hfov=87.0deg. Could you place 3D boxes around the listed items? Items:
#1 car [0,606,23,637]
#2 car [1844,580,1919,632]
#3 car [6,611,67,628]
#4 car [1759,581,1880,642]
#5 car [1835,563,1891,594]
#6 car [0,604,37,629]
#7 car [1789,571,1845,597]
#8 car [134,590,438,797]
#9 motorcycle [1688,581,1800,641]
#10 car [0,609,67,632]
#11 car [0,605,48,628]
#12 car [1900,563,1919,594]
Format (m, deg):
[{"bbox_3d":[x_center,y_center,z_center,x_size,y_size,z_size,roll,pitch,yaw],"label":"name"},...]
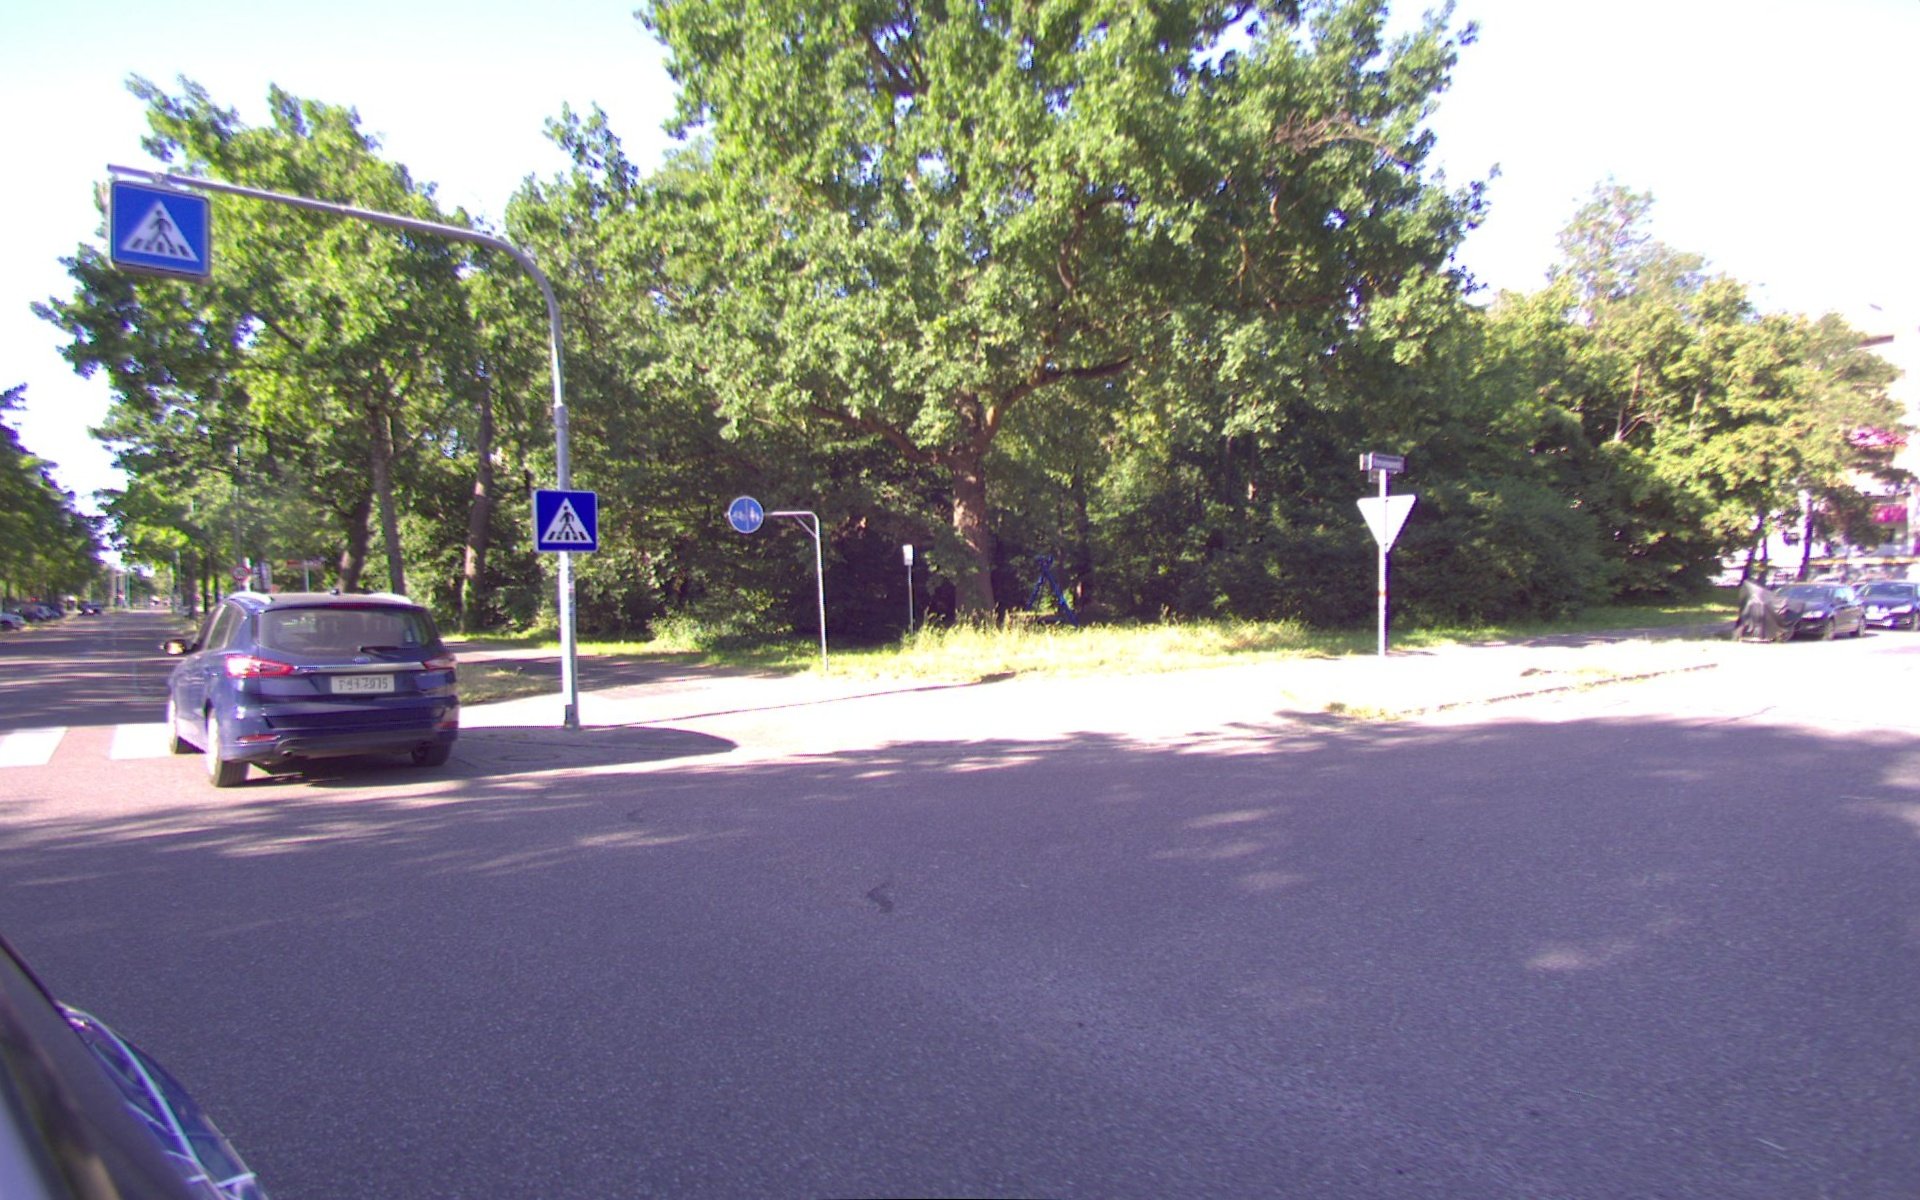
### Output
[{"bbox_3d":[-60.265,1.391,62.050,3.937,1.862,1.867,-2,1,-39],"label":"car"},{"bbox_3d":[27.246,0.137,29.432,3.530,1.402,1.563,-2,0,-36],"label":"car"},{"bbox_3d":[-86.771,1.827,95.150,4.089,1.420,1.803,-2,1,-39],"label":"car"},{"bbox_3d":[22.195,0.263,26.107,3.530,1.402,1.563,-2,0,-36],"label":"car"},{"bbox_3d":[55.010,-1.305,61.667,3.773,1.757,1.767,-2,0,-36],"label":"car"},{"bbox_3d":[-73.974,1.314,77.953,4.089,1.862,1.953,-2,1,-39],"label":"car"},{"bbox_3d":[53.495,-0.981,63.165,3.773,1.538,1.804,-2,0,-36],"label":"car"},{"bbox_3d":[-6.999,0.777,10.292,1.800,1.637,4.496,1,-2,-44],"label":"car"},{"bbox_3d":[18.460,0.266,23.890,1.949,1.354,0.670,-1,0,24],"label":"motorcycle"},{"bbox_3d":[-80.102,1.738,87.563,4.089,1.862,1.953,-2,1,-39],"label":"car"},{"bbox_3d":[-84.425,1.481,90.548,4.089,1.862,1.953,-2,1,-39],"label":"car"},{"bbox_3d":[56.464,-1.267,58.985,3.773,1.757,1.767,-2,0,-36],"label":"car"}]
